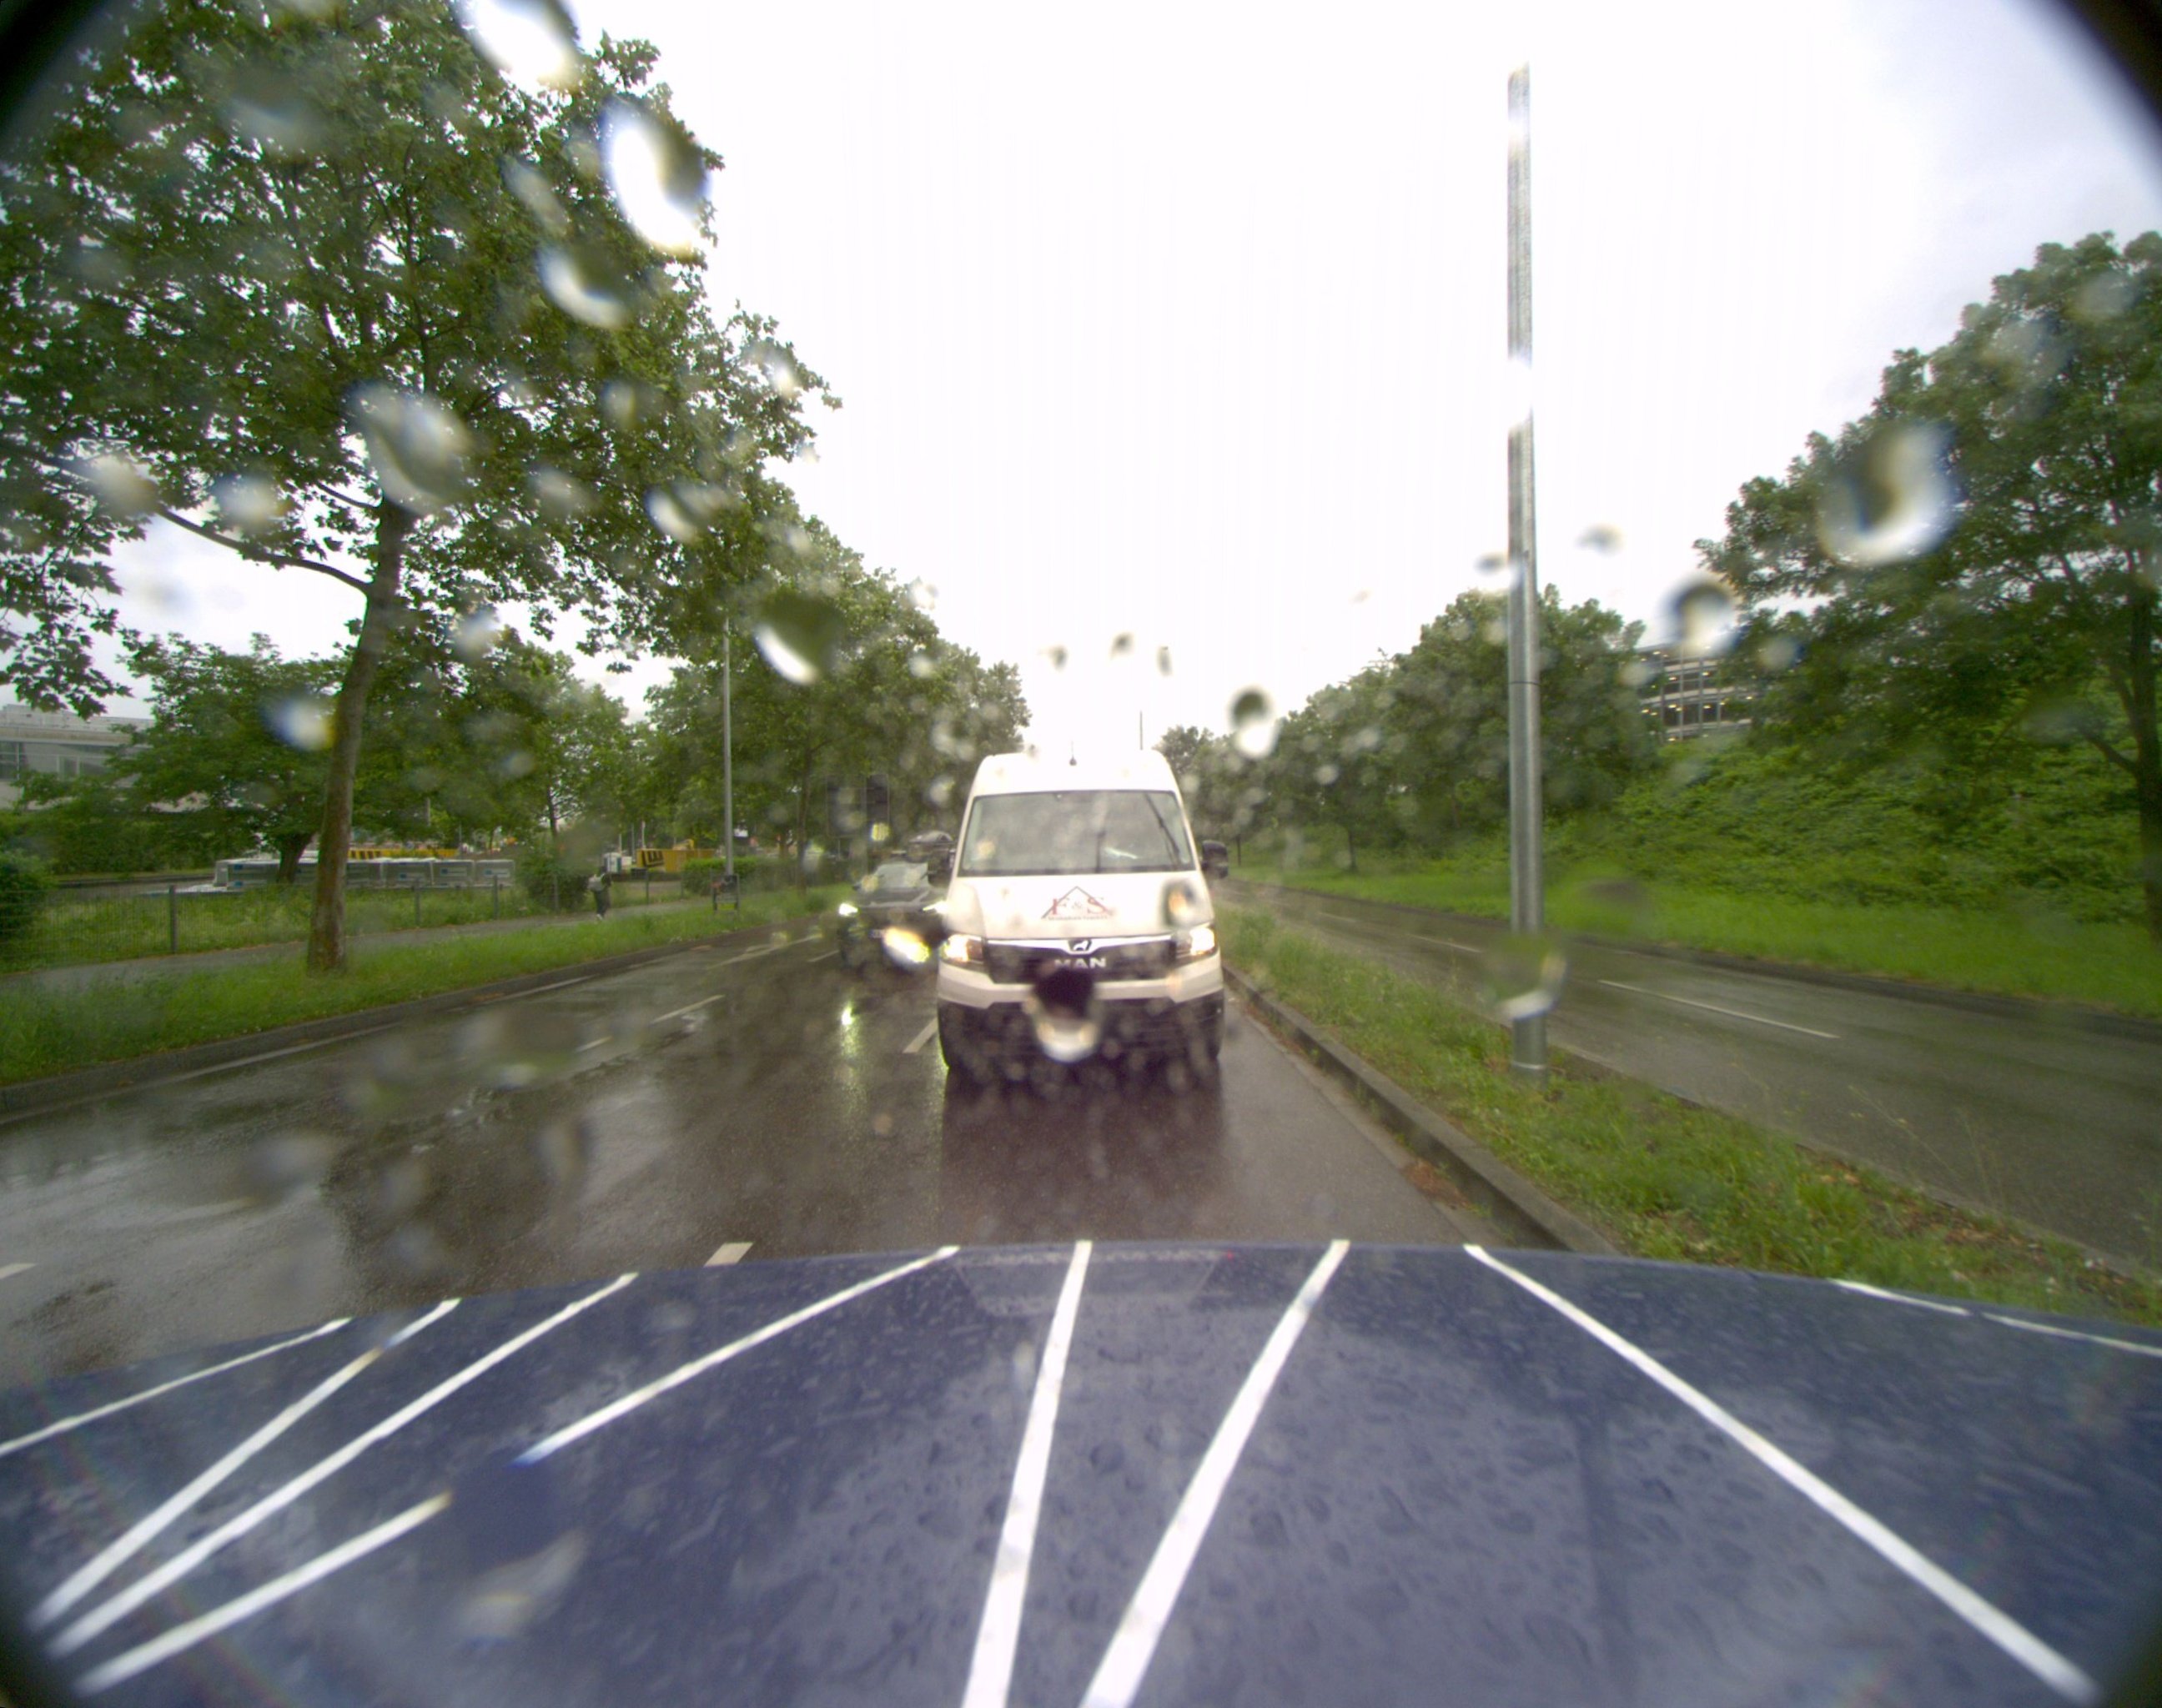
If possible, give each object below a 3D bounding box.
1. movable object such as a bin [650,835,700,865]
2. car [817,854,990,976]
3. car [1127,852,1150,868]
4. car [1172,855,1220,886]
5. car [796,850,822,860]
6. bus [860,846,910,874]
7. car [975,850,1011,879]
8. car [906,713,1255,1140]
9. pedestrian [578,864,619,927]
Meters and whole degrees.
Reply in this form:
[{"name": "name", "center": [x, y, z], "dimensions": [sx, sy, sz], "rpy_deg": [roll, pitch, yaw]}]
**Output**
[{"name": "movable object such as a bin", "center": [-47.666, -0.475, 89.285], "dimensions": [4.945, 3.415, 1.914], "rpy_deg": [-3, 1, -29]}, {"name": "car", "center": [-2.787, 0.872, 13.005], "dimensions": [1.894, 1.688, 4.423], "rpy_deg": [-1, 0, 0]}, {"name": "car", "center": [5.720, 0.600, 76.147], "dimensions": [1.959, 1.510, 4.254], "rpy_deg": [1, 0, 0]}, {"name": "car", "center": [6.136, 0.852, 40.993], "dimensions": [1.891, 1.510, 4.301], "rpy_deg": [1, 0, 0]}, {"name": "car", "center": [-36.780, 0.129, 102.849], "dimensions": [3.154, 1.321, 1.427], "rpy_deg": [-3, 1, -26]}, {"name": "bus", "center": [-19.145, 0.563, 74.385], "dimensions": [4.370, 2.553, 1.711], "rpy_deg": [-2, 1, 0]}, {"name": "car", "center": [-5.499, 0.668, 47.970], "dimensions": [1.679, 1.675, 4.148], "rpy_deg": [-3, 0, 1]}, {"name": "car", "center": [-0.048, 0.421, 7.354], "dimensions": [2.027, 2.498, 5.695], "rpy_deg": [-1, 0, -1]}, {"name": "pedestrian", "center": [-13.532, 1.143, 21.315], "dimensions": [0.646, 1.707, 0.656], "rpy_deg": [-2, 1, 1]}]
